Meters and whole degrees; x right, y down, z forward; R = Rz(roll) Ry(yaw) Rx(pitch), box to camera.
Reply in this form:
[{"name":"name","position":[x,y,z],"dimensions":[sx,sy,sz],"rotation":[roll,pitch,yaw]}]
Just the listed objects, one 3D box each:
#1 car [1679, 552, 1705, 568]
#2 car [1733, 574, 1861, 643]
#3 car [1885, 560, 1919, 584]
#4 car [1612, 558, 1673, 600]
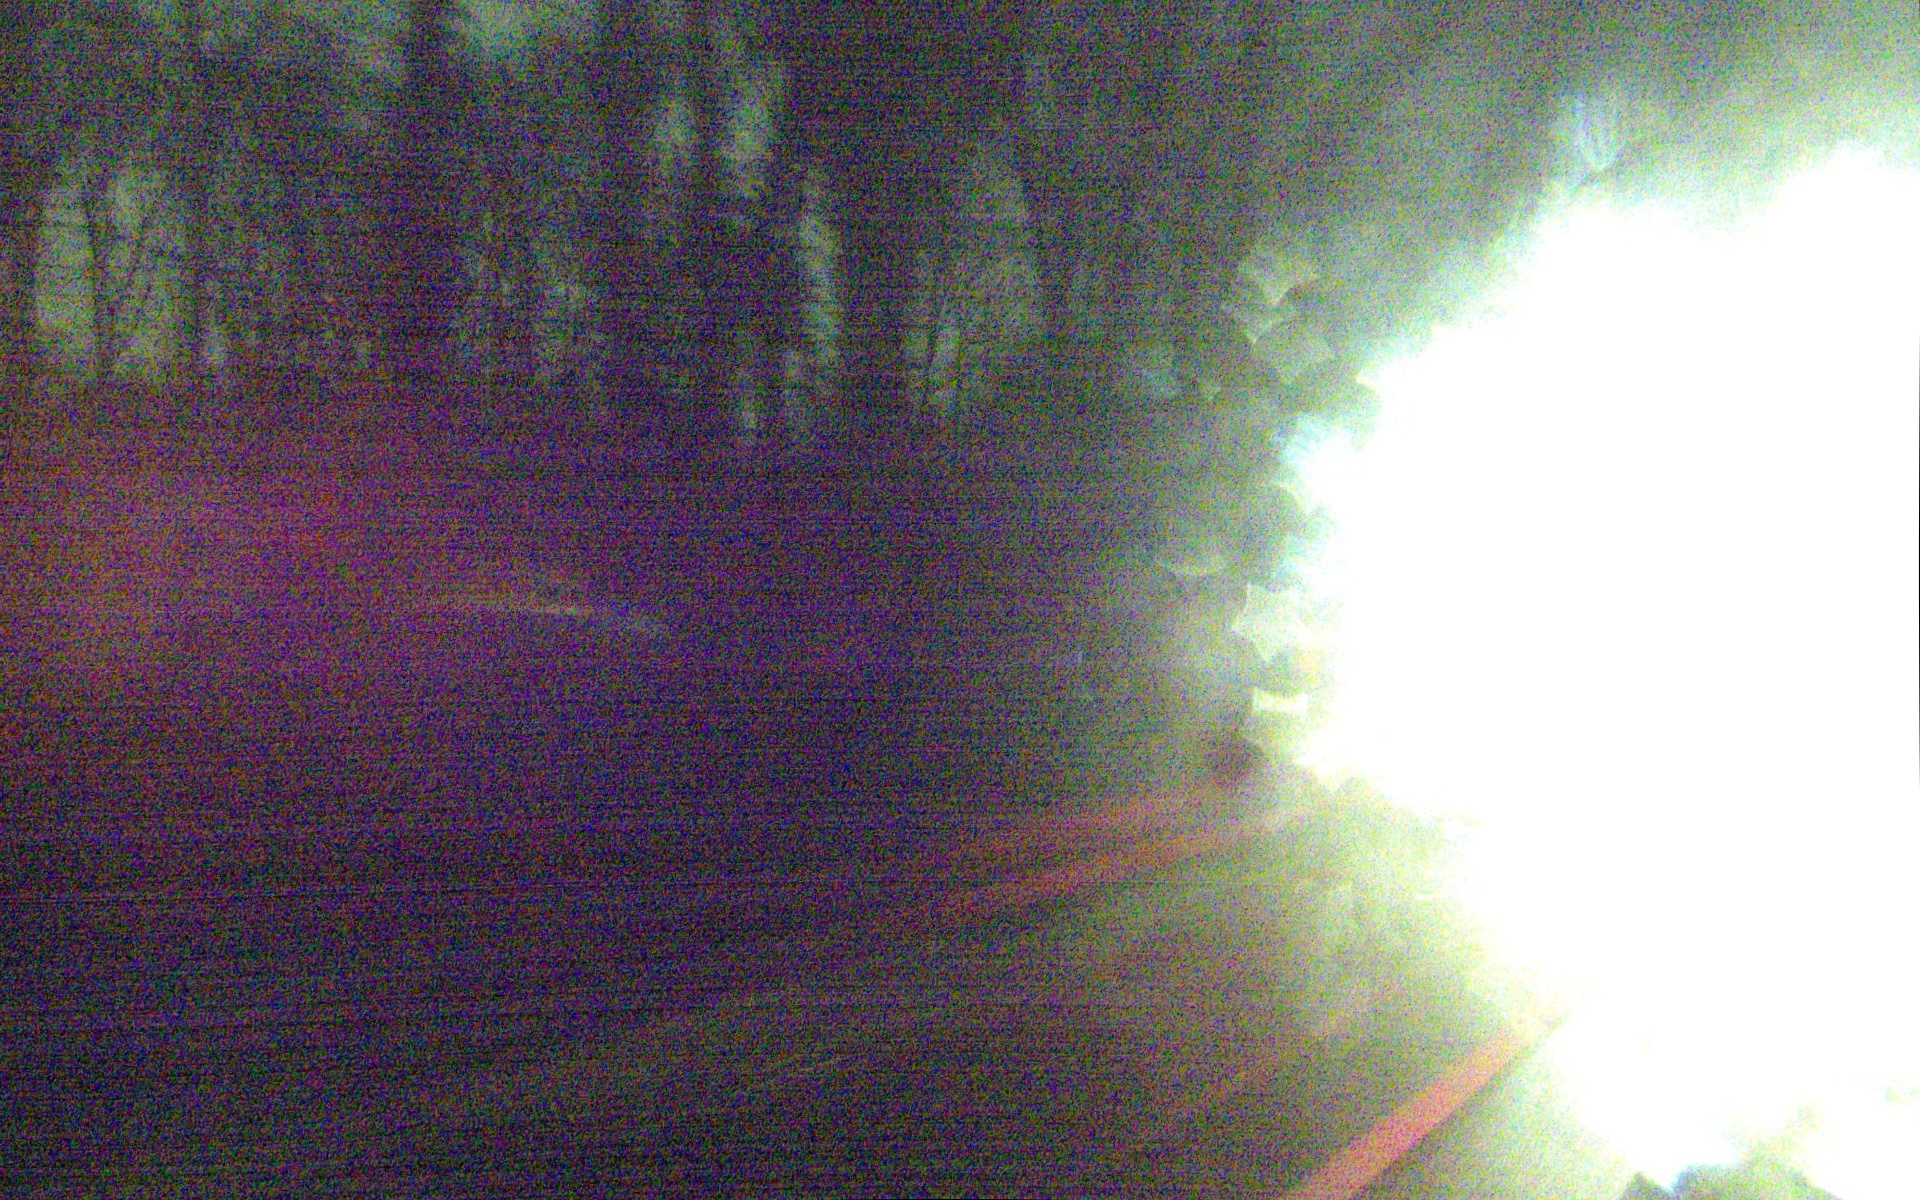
[{"name":"car","position":[104.553,-5.759,144.632],"dimensions":[1.979,2.037,4.773],"rotation":[3,4,24]},{"name":"car","position":[24.083,0.165,29.300],"dimensions":[1.875,1.631,3.966],"rotation":[3,4,26]},{"name":"car","position":[64.374,-1.941,68.905],"dimensions":[1.783,1.491,3.837],"rotation":[4,5,40]},{"name":"car","position":[36.098,-1.072,53.610],"dimensions":[1.979,2.039,3.965],"rotation":[-2,-1,25]}]
